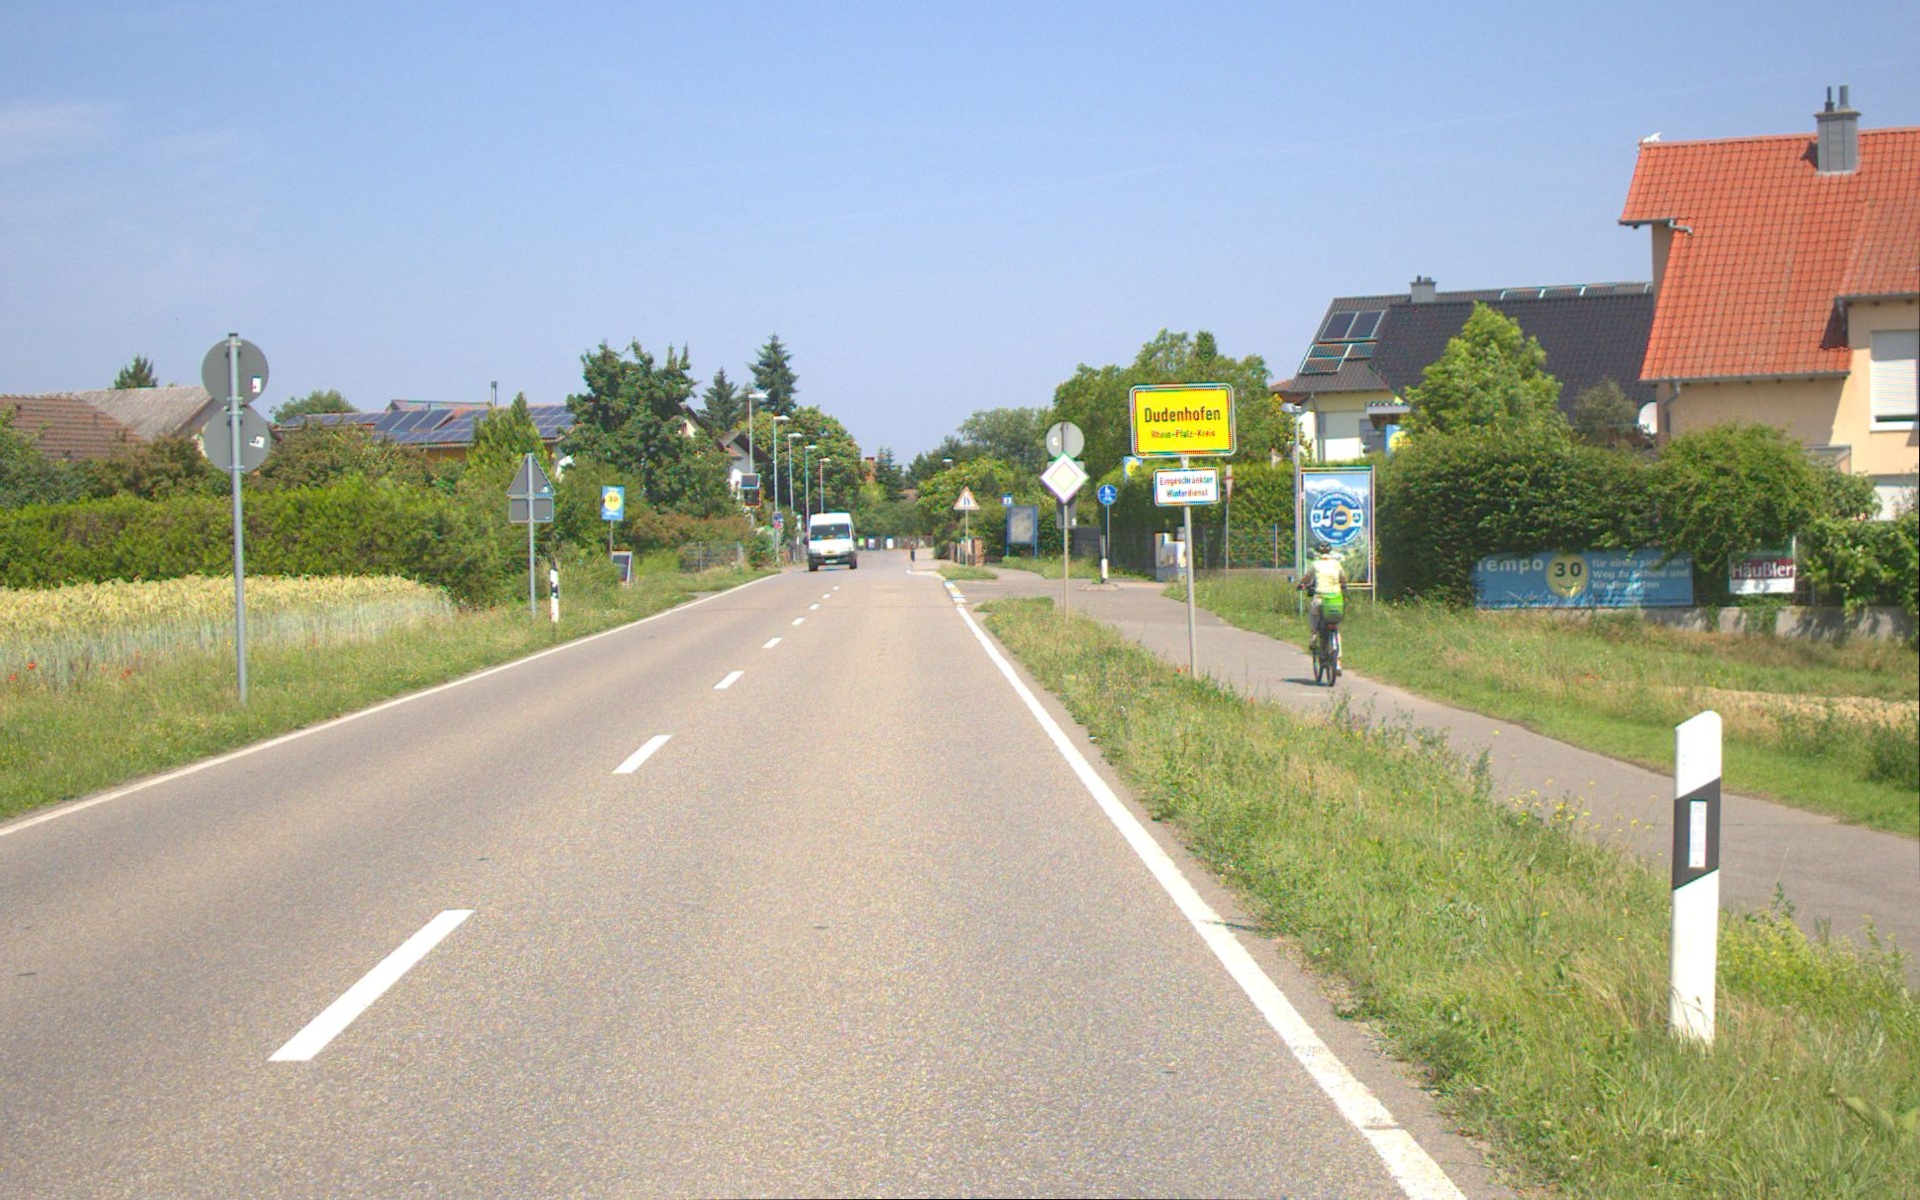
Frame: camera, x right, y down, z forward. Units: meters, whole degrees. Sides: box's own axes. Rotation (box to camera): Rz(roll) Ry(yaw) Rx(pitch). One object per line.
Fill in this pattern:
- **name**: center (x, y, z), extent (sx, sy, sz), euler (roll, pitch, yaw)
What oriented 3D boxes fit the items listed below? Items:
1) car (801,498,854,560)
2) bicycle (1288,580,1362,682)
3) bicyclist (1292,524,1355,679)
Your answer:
- **car**: center (-5.714, -3.108, 148.764), extent (2.077, 2.533, 5.874), euler (-2, 2, -1)
- **bicycle**: center (4.521, 0.367, 42.686), extent (0.610, 1.154, 2.274), euler (0, 2, -1)
- **bicyclist**: center (4.513, 0.010, 42.726), extent (0.645, 1.883, 0.861), euler (0, 2, -1)
